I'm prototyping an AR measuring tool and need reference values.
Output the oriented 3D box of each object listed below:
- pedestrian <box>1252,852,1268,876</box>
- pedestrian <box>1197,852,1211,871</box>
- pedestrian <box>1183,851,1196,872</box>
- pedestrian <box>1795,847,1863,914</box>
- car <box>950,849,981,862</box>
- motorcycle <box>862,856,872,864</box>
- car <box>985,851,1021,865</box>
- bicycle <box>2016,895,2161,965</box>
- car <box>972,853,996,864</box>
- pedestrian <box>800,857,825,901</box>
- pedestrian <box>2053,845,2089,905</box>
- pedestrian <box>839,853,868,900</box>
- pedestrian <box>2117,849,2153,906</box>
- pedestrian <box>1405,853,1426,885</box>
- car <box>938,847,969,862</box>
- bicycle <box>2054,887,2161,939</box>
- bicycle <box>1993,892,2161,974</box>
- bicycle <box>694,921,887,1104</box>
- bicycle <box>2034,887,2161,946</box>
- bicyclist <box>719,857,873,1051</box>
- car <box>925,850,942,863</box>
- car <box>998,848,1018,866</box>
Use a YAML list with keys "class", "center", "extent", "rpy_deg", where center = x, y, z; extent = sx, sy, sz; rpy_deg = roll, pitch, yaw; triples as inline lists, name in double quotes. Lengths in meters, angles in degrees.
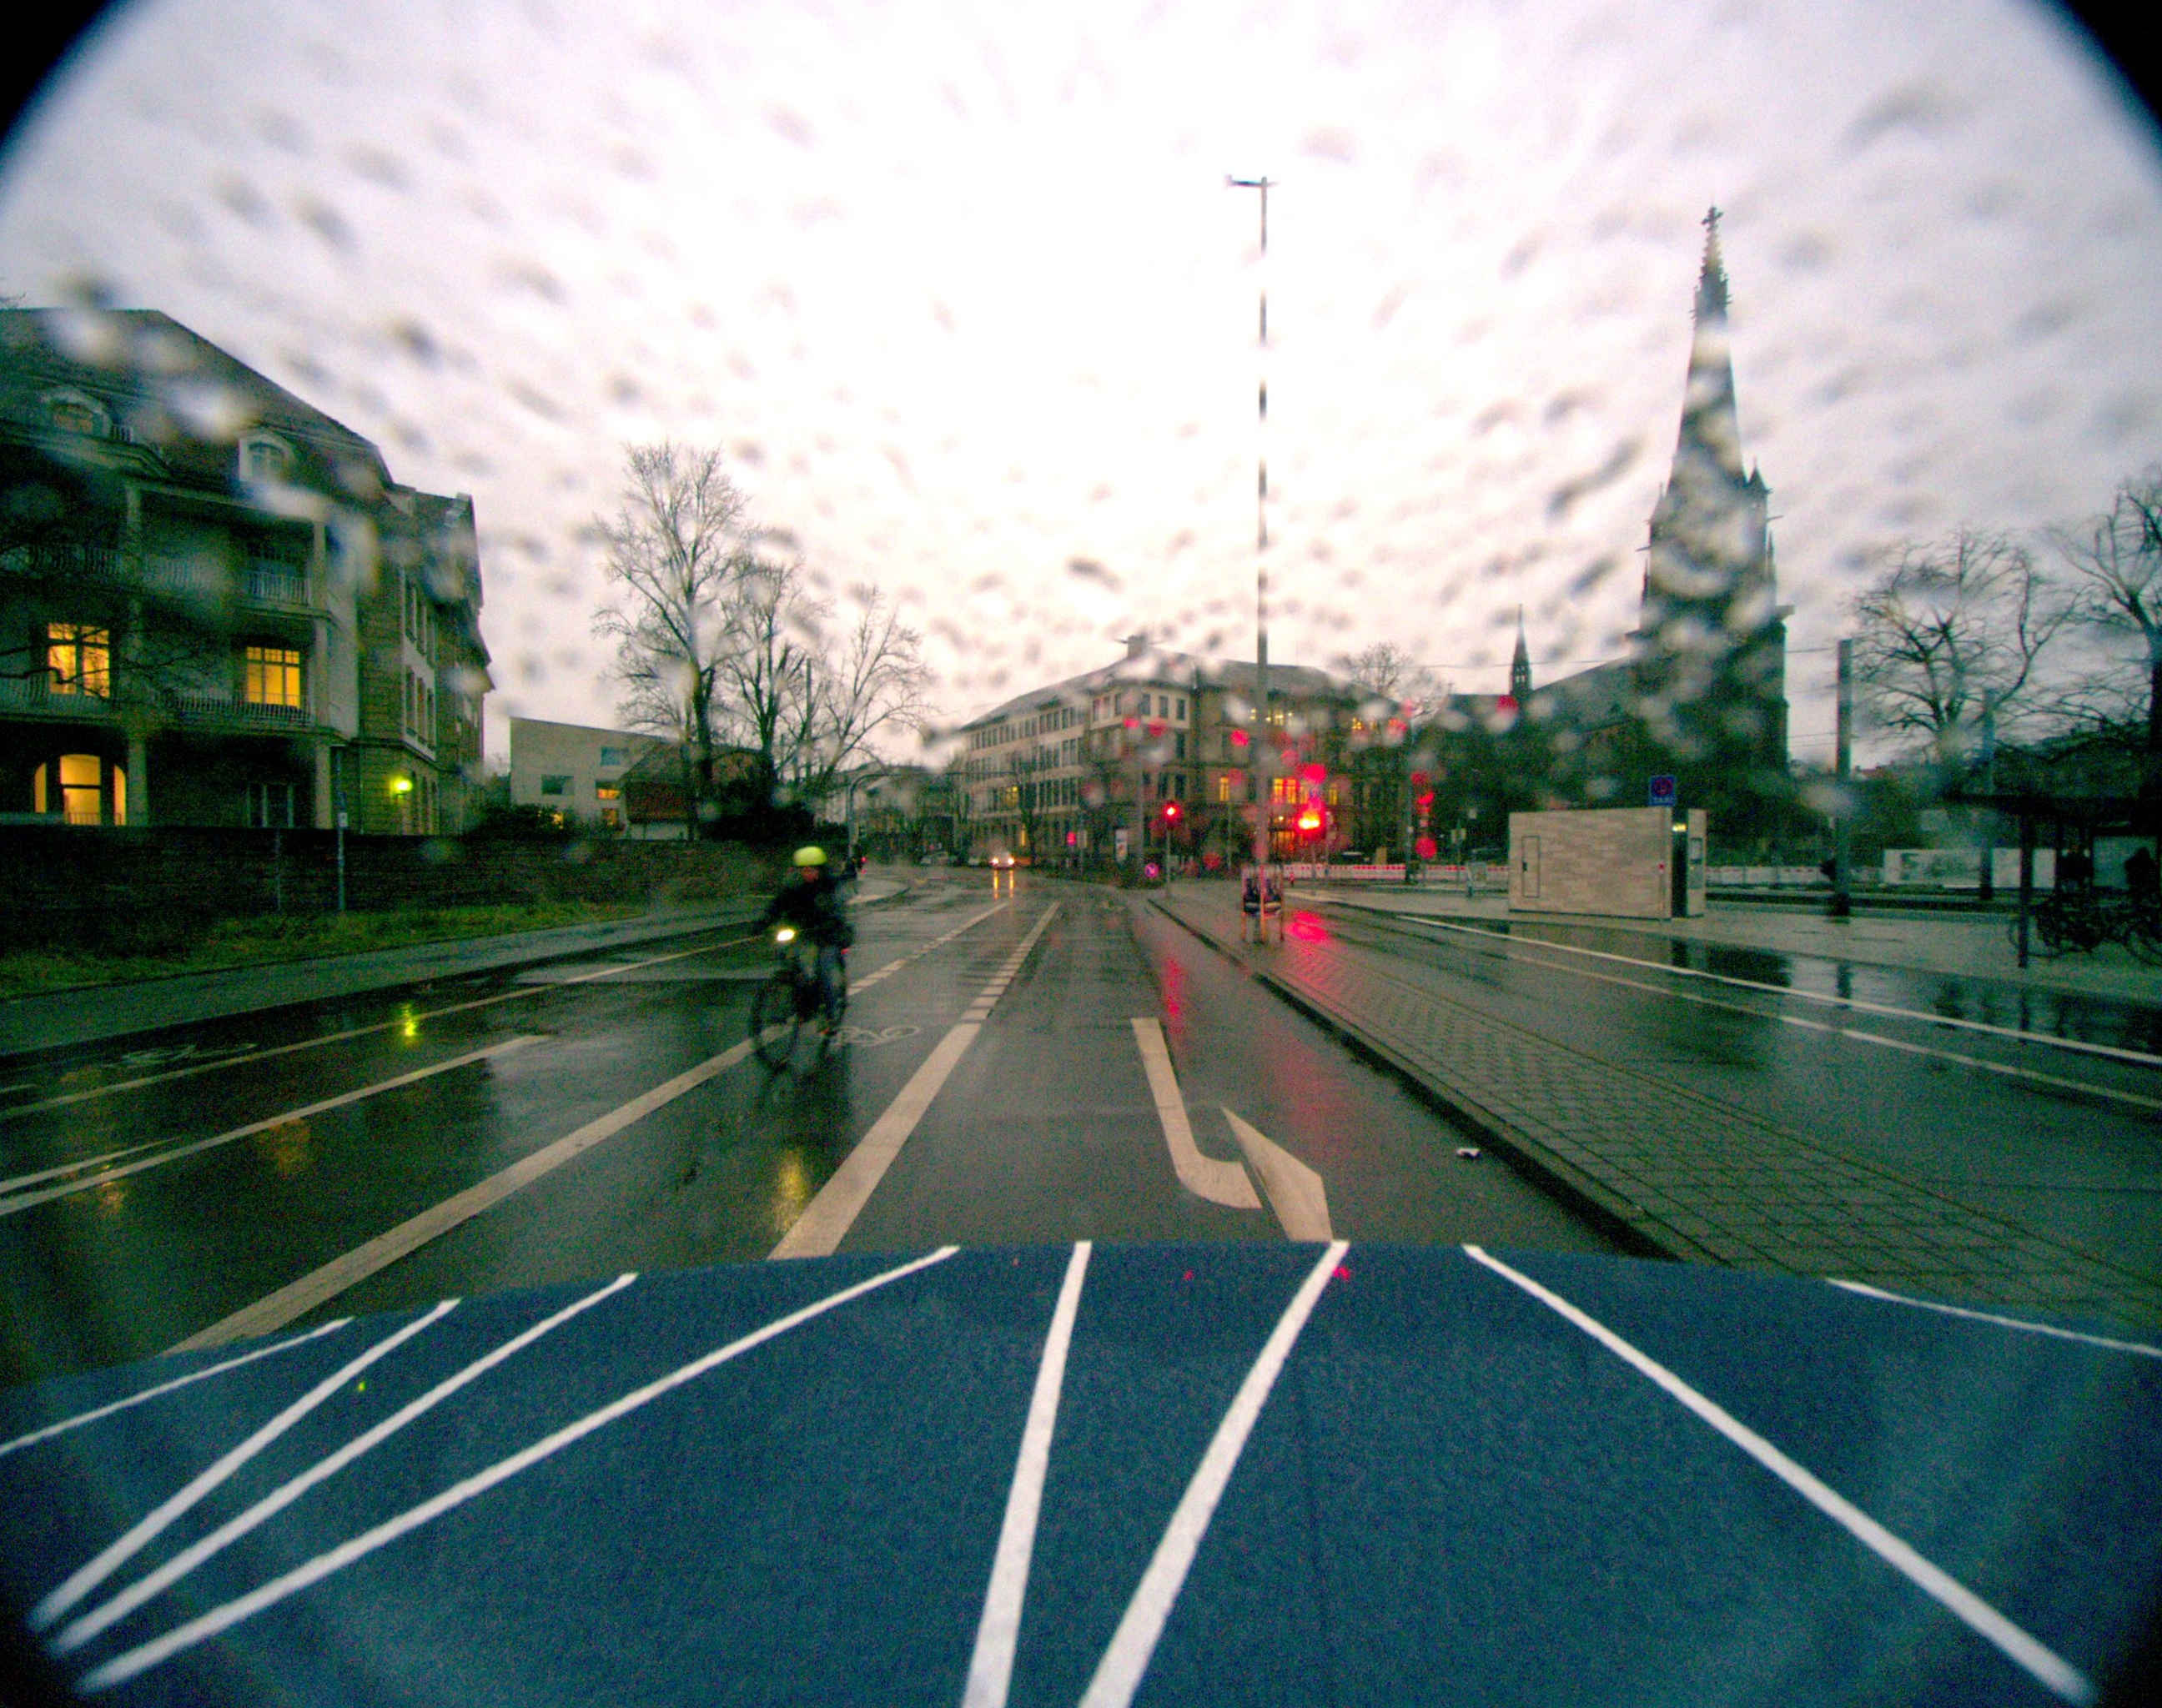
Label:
- class: "pedestrian"
  center: [14.329, 0.788, 60.875]
  extent: [0.675, 1.890, 0.971]
  rpy_deg: [0, 2, -42]
- class: "pedestrian"
  center: [11.163, 0.646, 69.009]
  extent: [0.829, 1.714, 0.926]
  rpy_deg: [0, 0, -33]
- class: "pedestrian"
  center: [9.480, 0.652, 66.556]
  extent: [0.675, 1.806, 0.895]
  rpy_deg: [0, 2, -42]
- class: "pedestrian"
  center: [20.201, 0.692, 20.522]
  extent: [1.013, 1.754, 1.065]
  rpy_deg: [1, 0, -30]
- class: "car"
  center: [-15.093, 0.193, 99.403]
  extent: [1.797, 1.541, 4.007]
  rpy_deg: [-2, 1, 28]
- class: "motorcycle"
  center: [-31.446, 0.863, 111.552]
  extent: [0.714, 1.048, 2.162]
  rpy_deg: [0, 0, -34]
- class: "car"
  center: [-9.282, 0.475, 90.534]
  extent: [1.797, 1.541, 4.007]
  rpy_deg: [-1, 1, 45]
- class: "bicycle"
  center: [16.615, 1.214, 12.214]
  extent: [0.475, 0.980, 1.921]
  rpy_deg: [-2, 2, -30]
- class: "car"
  center: [-12.137, 0.568, 95.305]
  extent: [1.706, 1.298, 3.647]
  rpy_deg: [-2, 1, 16]
- class: "pedestrian"
  center: [-10.573, 0.986, 29.897]
  extent: [0.799, 1.713, 0.673]
  rpy_deg: [1, 1, -7]
- class: "pedestrian"
  center: [30.233, 0.643, 23.213]
  extent: [0.673, 1.785, 0.626]
  rpy_deg: [-3, 2, -41]
- class: "pedestrian"
  center: [-9.341, 0.924, 31.225]
  extent: [0.999, 1.890, 0.674]
  rpy_deg: [1, 1, -1]
- class: "pedestrian"
  center: [31.046, 0.692, 22.384]
  extent: [0.541, 1.642, 0.562]
  rpy_deg: [-3, 2, -41]
- class: "pedestrian"
  center: [18.153, 0.812, 41.233]
  extent: [0.771, 1.651, 1.210]
  rpy_deg: [-1, 1, 36]
- class: "car"
  center: [-16.998, 0.068, 101.469]
  extent: [2.043, 1.889, 4.007]
  rpy_deg: [-2, 1, 28]
- class: "bicycle"
  center: [20.821, 1.162, 15.000]
  extent: [0.475, 0.905, 1.921]
  rpy_deg: [-2, 2, -30]
- class: "bicycle"
  center: [15.496, 1.180, 11.609]
  extent: [0.475, 1.064, 1.921]
  rpy_deg: [-2, 2, -30]
- class: "bicycle"
  center: [-2.299, 1.206, 6.341]
  extent: [0.785, 1.069, 1.957]
  rpy_deg: [-2, 1, 1]
- class: "bicycle"
  center: [19.690, 1.169, 14.425]
  extent: [0.475, 0.980, 1.921]
  rpy_deg: [-2, 2, -30]
- class: "bicyclist"
  center: [-2.327, 0.766, 6.355]
  extent: [0.785, 1.444, 1.134]
  rpy_deg: [-2, 1, 1]
- class: "car"
  center: [-20.738, 0.364, 106.843]
  extent: [2.000, 1.660, 3.997]
  rpy_deg: [-2, 1, -7]
- class: "car"
  center: [-7.948, 0.275, 82.697]
  extent: [1.883, 1.835, 3.998]
  rpy_deg: [-2, 1, -3]
